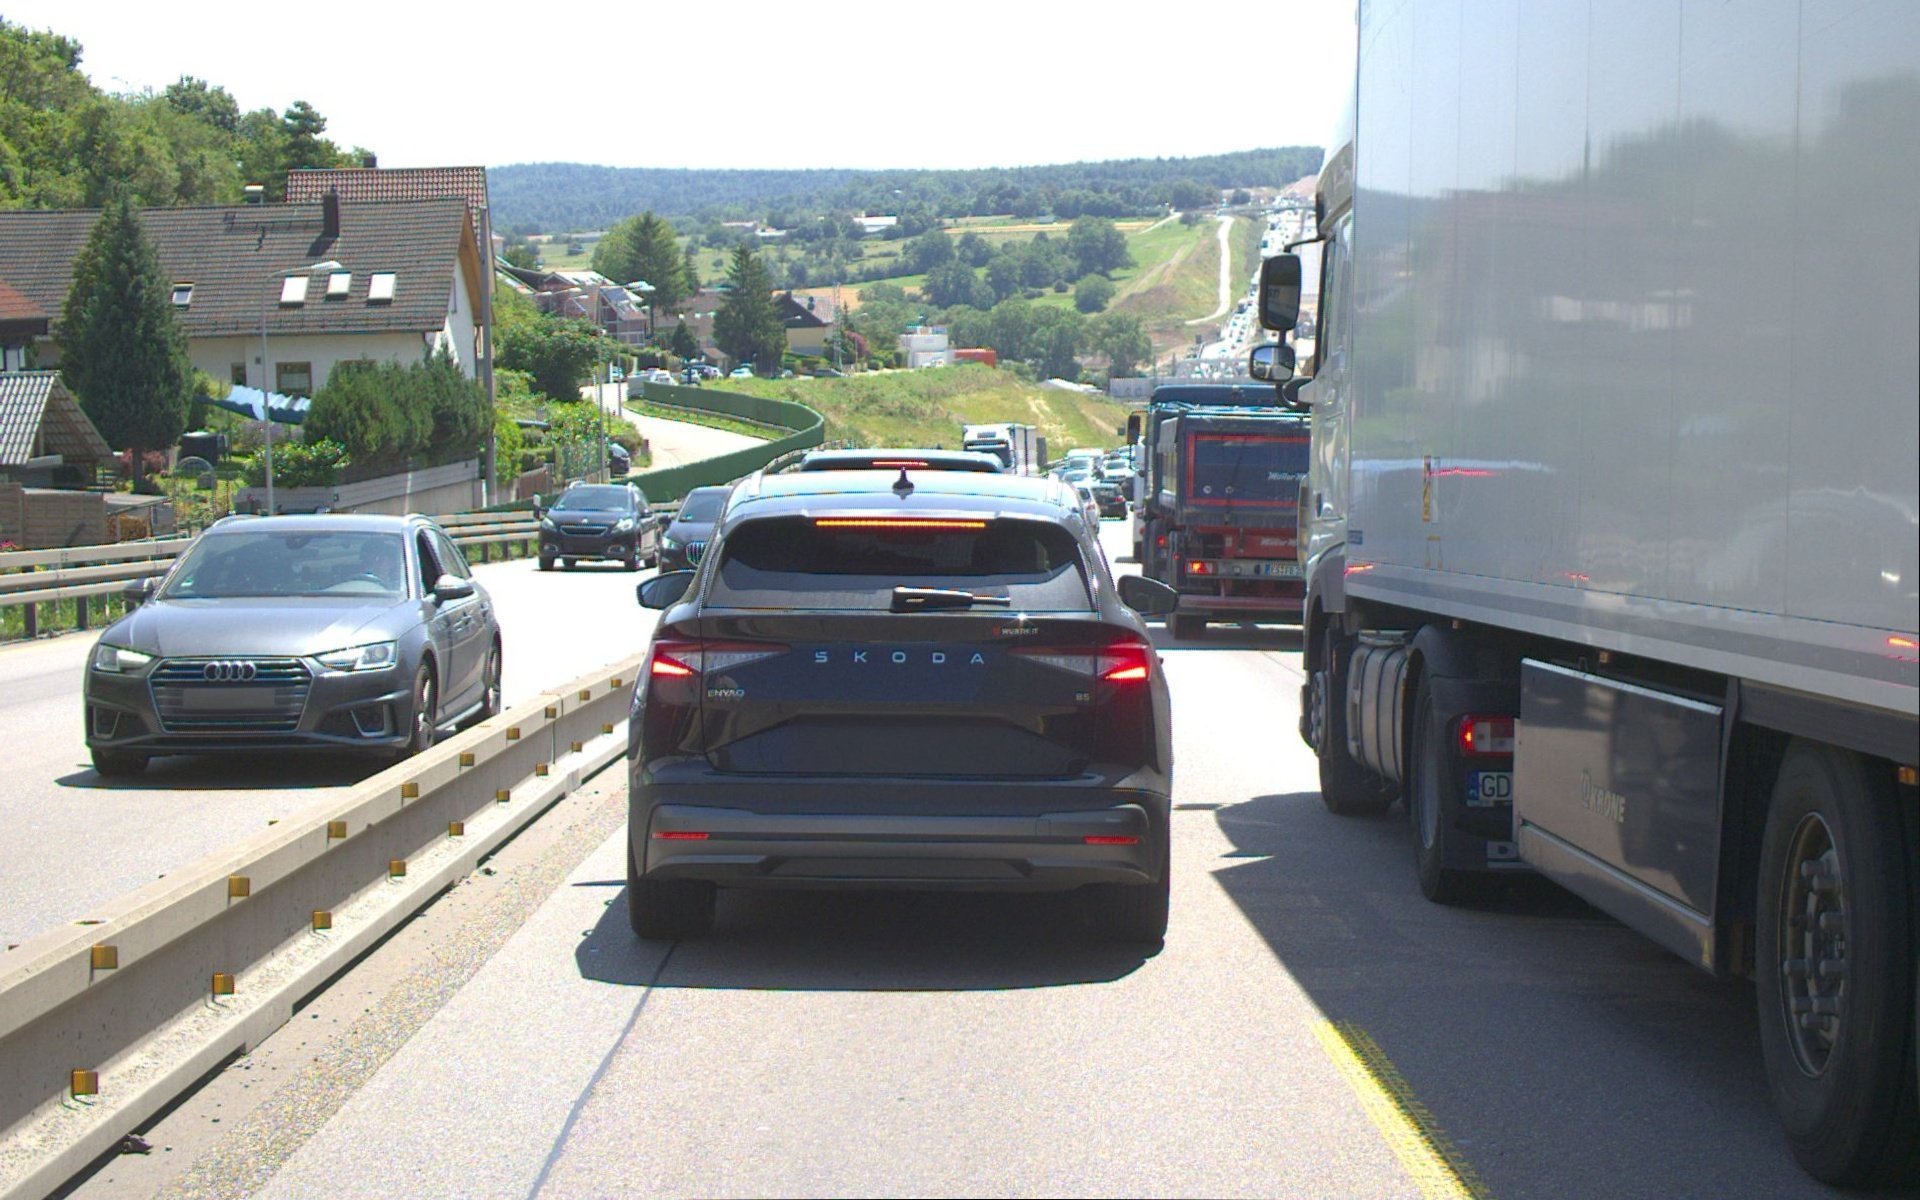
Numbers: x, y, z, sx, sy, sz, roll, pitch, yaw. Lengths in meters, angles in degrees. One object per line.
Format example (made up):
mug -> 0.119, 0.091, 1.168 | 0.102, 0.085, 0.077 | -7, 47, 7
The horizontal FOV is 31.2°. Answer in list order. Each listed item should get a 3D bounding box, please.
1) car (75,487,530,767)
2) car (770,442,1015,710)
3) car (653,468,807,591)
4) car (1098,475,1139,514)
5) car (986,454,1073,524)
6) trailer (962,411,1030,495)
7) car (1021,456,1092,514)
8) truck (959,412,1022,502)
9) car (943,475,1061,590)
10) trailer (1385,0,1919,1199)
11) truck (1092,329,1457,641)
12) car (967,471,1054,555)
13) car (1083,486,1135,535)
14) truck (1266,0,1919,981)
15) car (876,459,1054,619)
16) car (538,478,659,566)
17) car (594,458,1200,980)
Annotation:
car -> -3.707, 0.095, 20.179 | 1.790, 1.448, 4.635 | 0, 1, 0
car -> -0.592, -0.260, 26.599 | 1.706, 1.875, 4.001 | 1, 3, -3
car -> -3.214, -0.995, 48.708 | 1.819, 1.581, 4.159 | 3, 1, 0
car -> 7.422, -4.909, 160.619 | 1.701, 1.722, 3.836 | 1, 1, 5
car -> 1.663, -2.640, 82.458 | 1.993, 1.579, 3.836 | 1, 1, 1
trailer -> 1.864, -7.416, 172.745 | 2.758, 4.056, 8.007 | 1, 3, 5
car -> 2.799, -3.337, 100.103 | 1.993, 1.579, 3.836 | 1, 1, 1
truck -> 1.512, -6.959, 167.979 | 2.752, 4.268, 4.957 | 1, 2, 4
car -> 0.634, -1.075, 52.975 | 1.707, 1.616, 4.001 | 1, 3, 0
trailer -> 2.985, -0.805, 7.427 | 2.532, 4.112, 11.549 | 1, 1, 0
truck -> 3.507, -1.319, 42.048 | 3.195, 3.180, 12.810 | 1, 1, 0
car -> 1.023, -1.818, 71.106 | 1.707, 1.616, 4.001 | 1, 3, 0
car -> 5.441, -3.254, 125.331 | 1.701, 1.722, 3.836 | 1, 1, 5
truck -> 2.965, -0.970, 14.146 | 2.513, 4.011, 8.238 | 1, 1, -1
car -> 0.003, -0.722, 38.196 | 1.706, 1.616, 4.001 | 1, 3, -3
car -> -6.274, -1.353, 59.963 | 1.706, 1.460, 3.681 | 1, 1, 0
car -> -0.304, 0.332, 12.576 | 1.842, 1.581, 3.908 | 1, 1, -3
